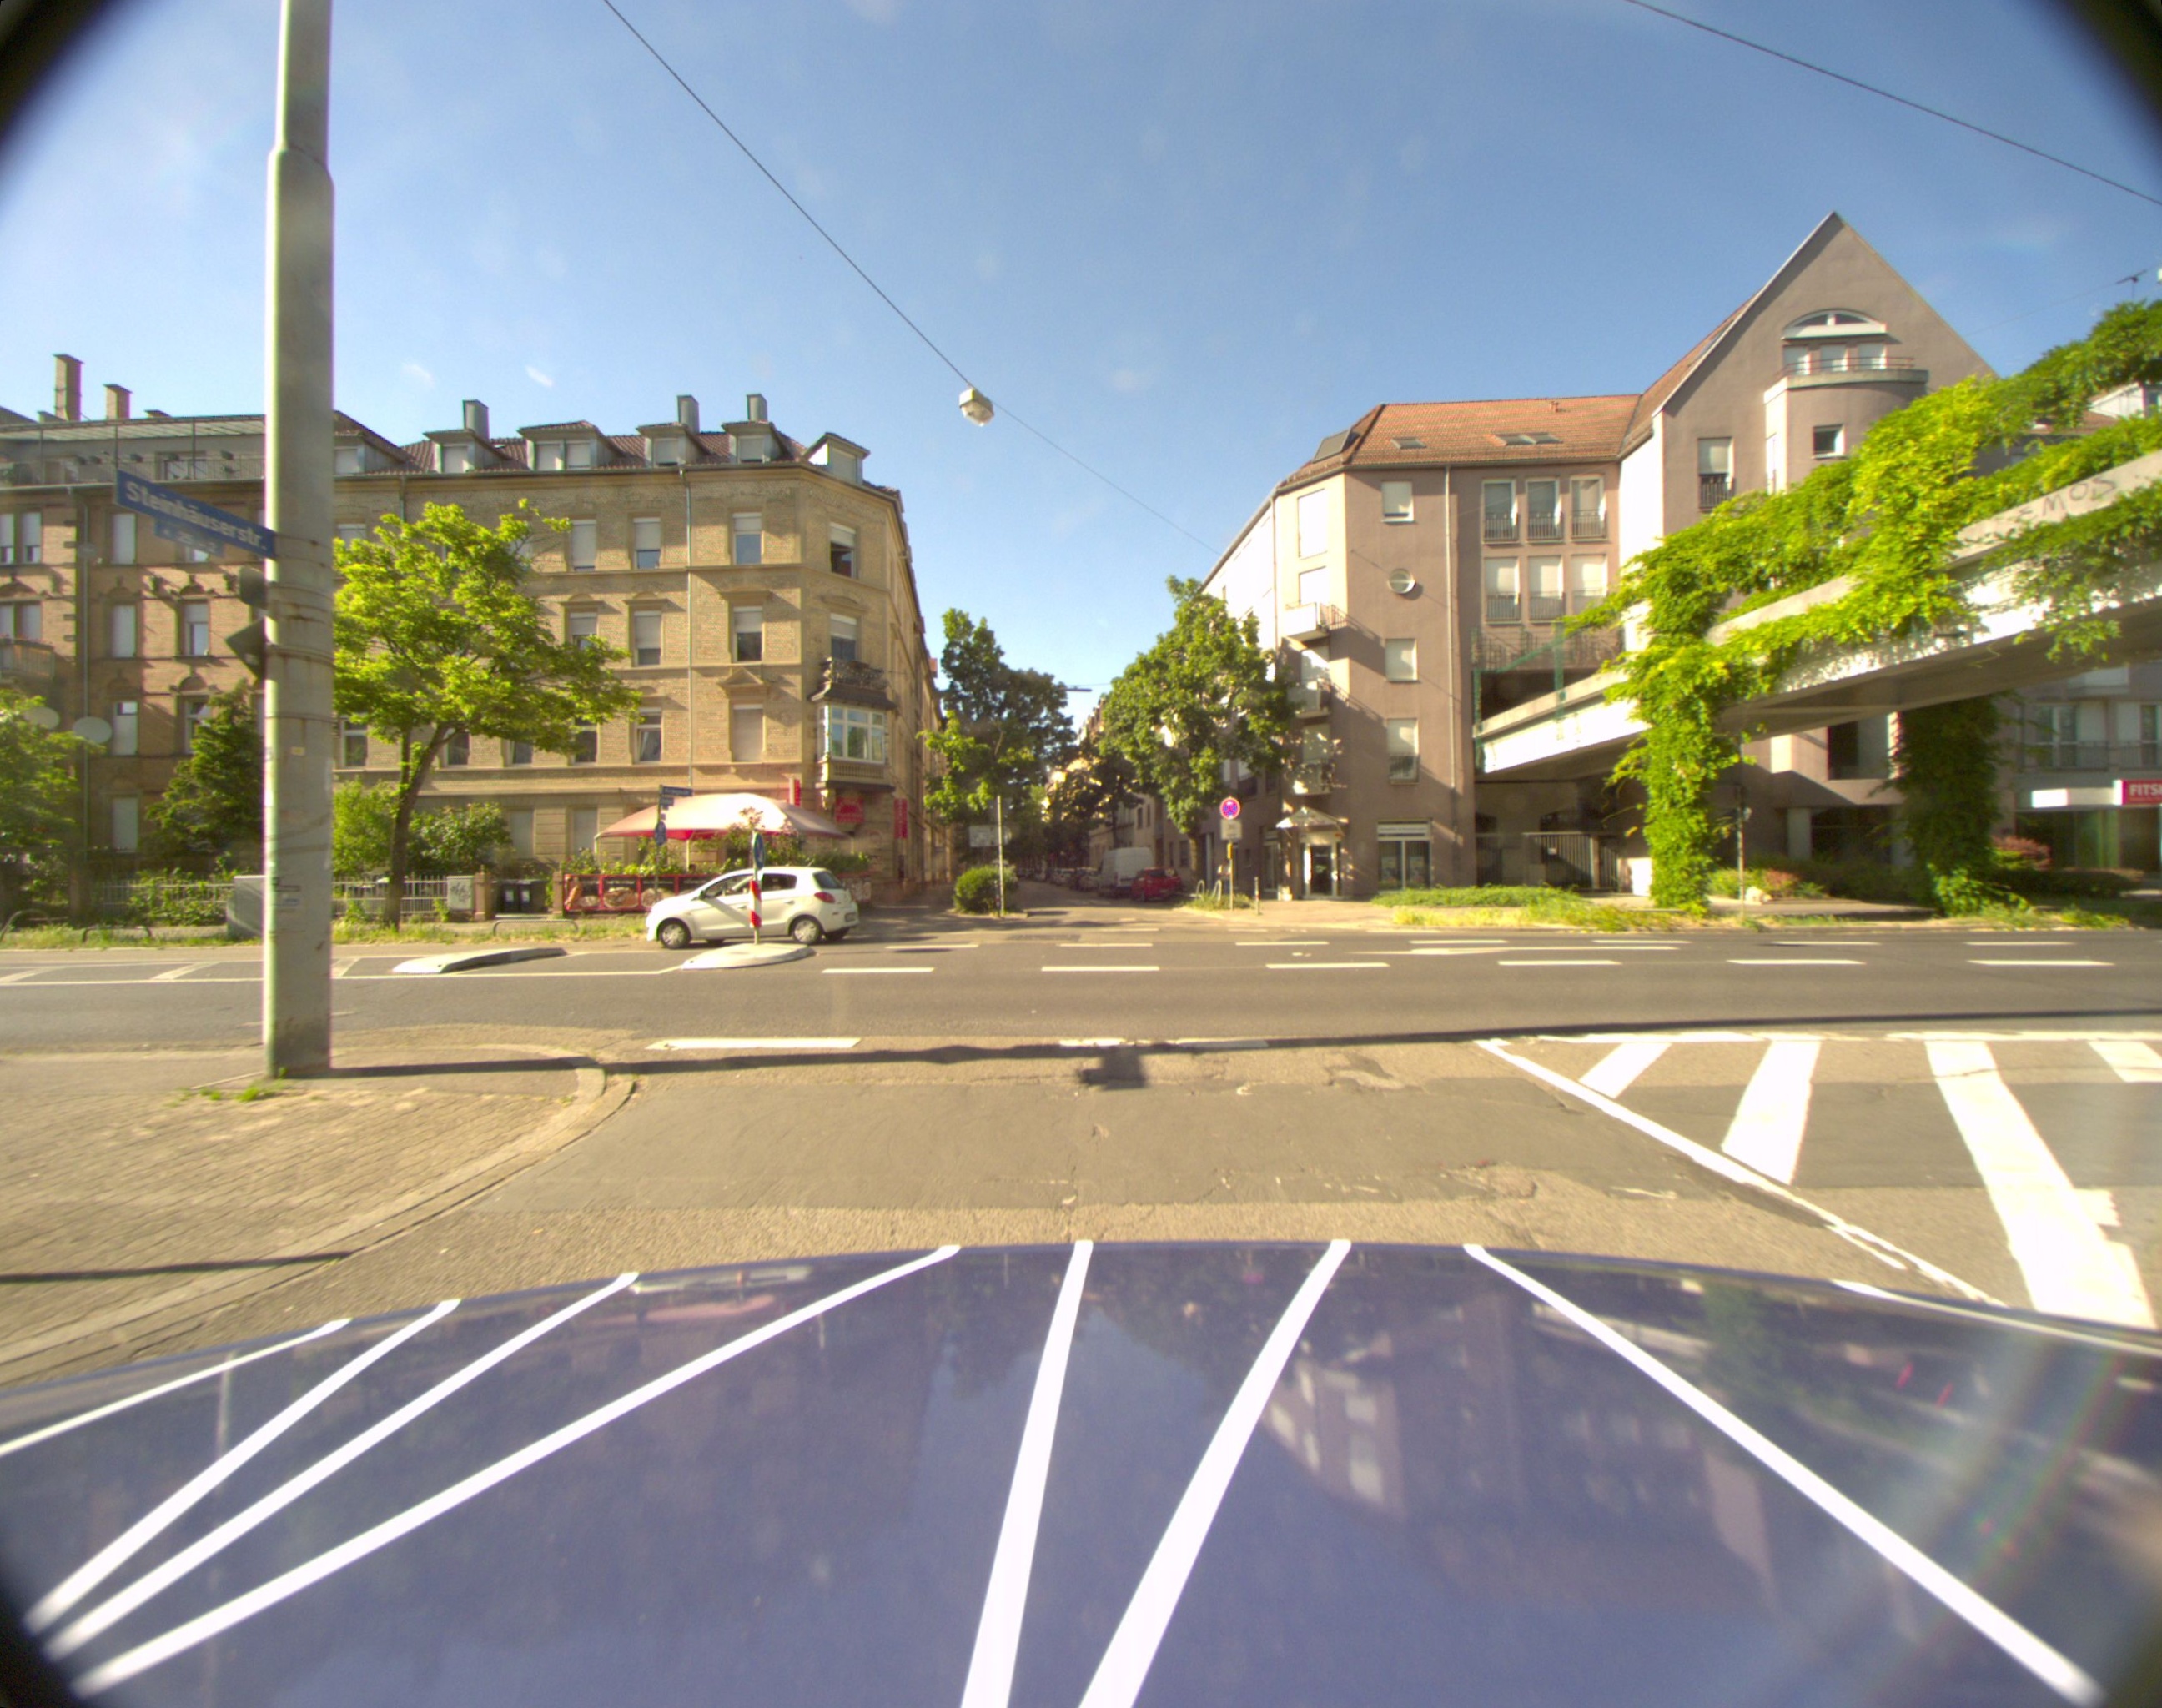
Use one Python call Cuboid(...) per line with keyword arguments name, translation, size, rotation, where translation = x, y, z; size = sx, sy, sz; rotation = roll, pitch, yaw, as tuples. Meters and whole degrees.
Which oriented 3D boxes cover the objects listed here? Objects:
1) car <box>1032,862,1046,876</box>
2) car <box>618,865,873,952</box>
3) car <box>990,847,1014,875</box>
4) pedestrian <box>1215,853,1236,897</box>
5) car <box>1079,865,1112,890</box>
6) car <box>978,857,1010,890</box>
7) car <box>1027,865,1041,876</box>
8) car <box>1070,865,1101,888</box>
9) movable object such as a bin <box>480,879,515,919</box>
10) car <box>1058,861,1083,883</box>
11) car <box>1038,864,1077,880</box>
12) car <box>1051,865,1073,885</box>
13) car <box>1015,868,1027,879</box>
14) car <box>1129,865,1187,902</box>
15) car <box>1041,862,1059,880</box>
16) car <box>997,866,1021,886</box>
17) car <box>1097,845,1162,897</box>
Cuboid(name="car", translation=(-6.017, 2.142, 109.237), size=(1.777, 1.870, 3.998), rotation=(-1, 0, -6))
Cuboid(name="car", translation=(-6.277, 0.993, 14.511), size=(4.096, 1.521, 1.665), rotation=(-1, -1, 2))
Cuboid(name="car", translation=(-8.078, 0.737, 77.478), size=(2.276, 2.645, 4.321), rotation=(-1, -3, -8))
Cuboid(name="pedestrian", translation=(5.260, 0.751, 27.660), size=(0.632, 1.567, 0.532), rotation=(-1, 0, 27))
Cuboid(name="car", translation=(0.945, 1.539, 50.943), size=(1.695, 1.547, 3.820), rotation=(-1, 0, -7))
Cuboid(name="car", translation=(-5.721, 1.291, 49.927), size=(1.997, 2.016, 4.302), rotation=(-1, -2, -7))
Cuboid(name="car", translation=(-7.515, 2.597, 120.791), size=(1.869, 1.759, 3.997), rotation=(-1, 0, -8))
Cuboid(name="car", translation=(0.278, 1.605, 55.084), size=(1.785, 1.547, 3.820), rotation=(-1, 0, -7))
Cuboid(name="movable object such as a bin", translation=(-17.032, 1.311, 22.193), size=(0.551, 1.126, 0.570), rotation=(-1, 0, 3))
Cuboid(name="car", translation=(-0.933, 1.539, 65.639), size=(1.777, 1.870, 3.999), rotation=(-1, -1, -6))
Cuboid(name="car", translation=(-2.498, 1.877, 80.640), size=(3.999, 1.576, 1.818), rotation=(-1, -3, -7))
Cuboid(name="car", translation=(-1.882, 1.975, 72.312), size=(1.777, 1.870, 3.998), rotation=(-1, 0, -6))
Cuboid(name="car", translation=(-10.723, 3.488, 136.391), size=(1.869, 1.759, 3.997), rotation=(-1, 0, -8))
Cuboid(name="car", translation=(3.262, 1.248, 32.991), size=(1.692, 1.454, 3.998), rotation=(-1, 0, -7))
Cuboid(name="car", translation=(-3.481, 1.902, 84.983), size=(1.777, 1.870, 3.998), rotation=(-1, 0, -6))
Cuboid(name="car", translation=(-5.740, 1.764, 60.383), size=(1.695, 1.464, 3.998), rotation=(-1, -2, -8))
Cuboid(name="car", translation=(2.387, 0.849, 38.775), size=(2.220, 2.436, 5.091), rotation=(-1, 0, -9))
